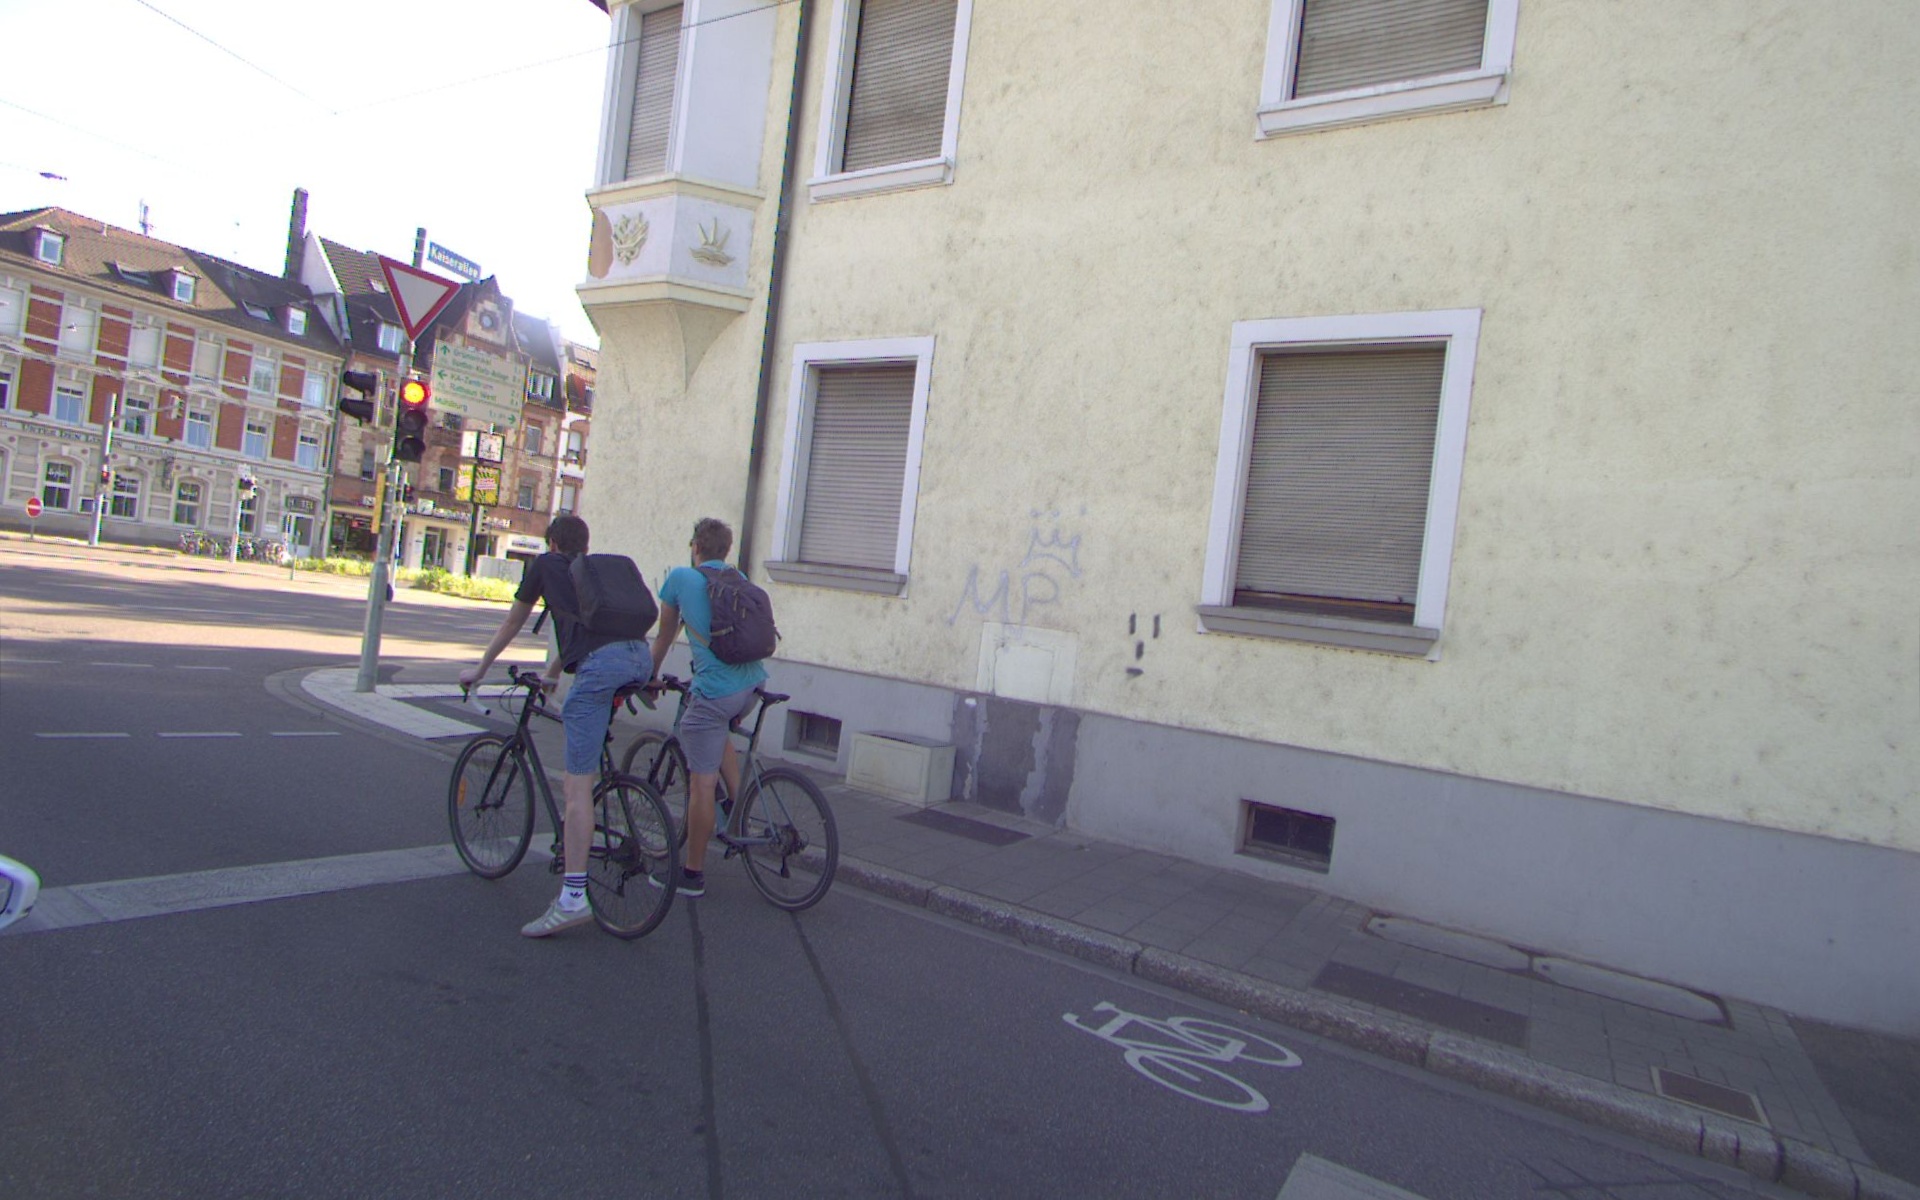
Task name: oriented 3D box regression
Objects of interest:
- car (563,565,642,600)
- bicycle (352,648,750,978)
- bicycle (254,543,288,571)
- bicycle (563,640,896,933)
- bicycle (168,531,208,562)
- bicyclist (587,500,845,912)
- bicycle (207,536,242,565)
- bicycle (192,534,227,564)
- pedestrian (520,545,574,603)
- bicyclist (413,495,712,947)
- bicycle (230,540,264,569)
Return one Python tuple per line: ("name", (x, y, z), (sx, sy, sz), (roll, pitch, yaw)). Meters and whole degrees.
("car", (-23.164, -1.113, 65.320), (2.116, 1.660, 4.340), (7, -1, 31))
("bicycle", (-1.918, 0.856, 4.589), (1.897, 1.023, 0.645), (7, 0, 34))
("bicycle", (-33.109, -2.060, 48.316), (2.102, 1.150, 0.609), (7, 0, 37))
("bicycle", (-1.257, 0.888, 5.279), (1.784, 1.130, 0.519), (7, 0, 34))
("bicycle", (-35.056, -2.439, 45.680), (2.140, 1.157, 0.806), (7, 0, 37))
("bicyclist", (-1.273, 0.501, 5.244), (0.961, 1.917, 0.602), (6, -1, 34))
("bicycle", (-34.206, -2.301, 46.760), (2.140, 1.157, 0.618), (7, 0, 37))
("bicycle", (-34.542, -2.349, 46.283), (2.140, 1.157, 0.618), (7, 0, 37))
("pedestrian", (-16.563, -1.032, 40.377), (1.285, 2.068, 1.321), (7, 0, 31))
("bicyclist", (-1.806, 0.474, 4.543), (1.083, 1.775, 0.562), (7, 0, 34))
("bicycle", (-33.673, -2.153, 47.512), (2.140, 1.157, 0.618), (7, 0, 37))
